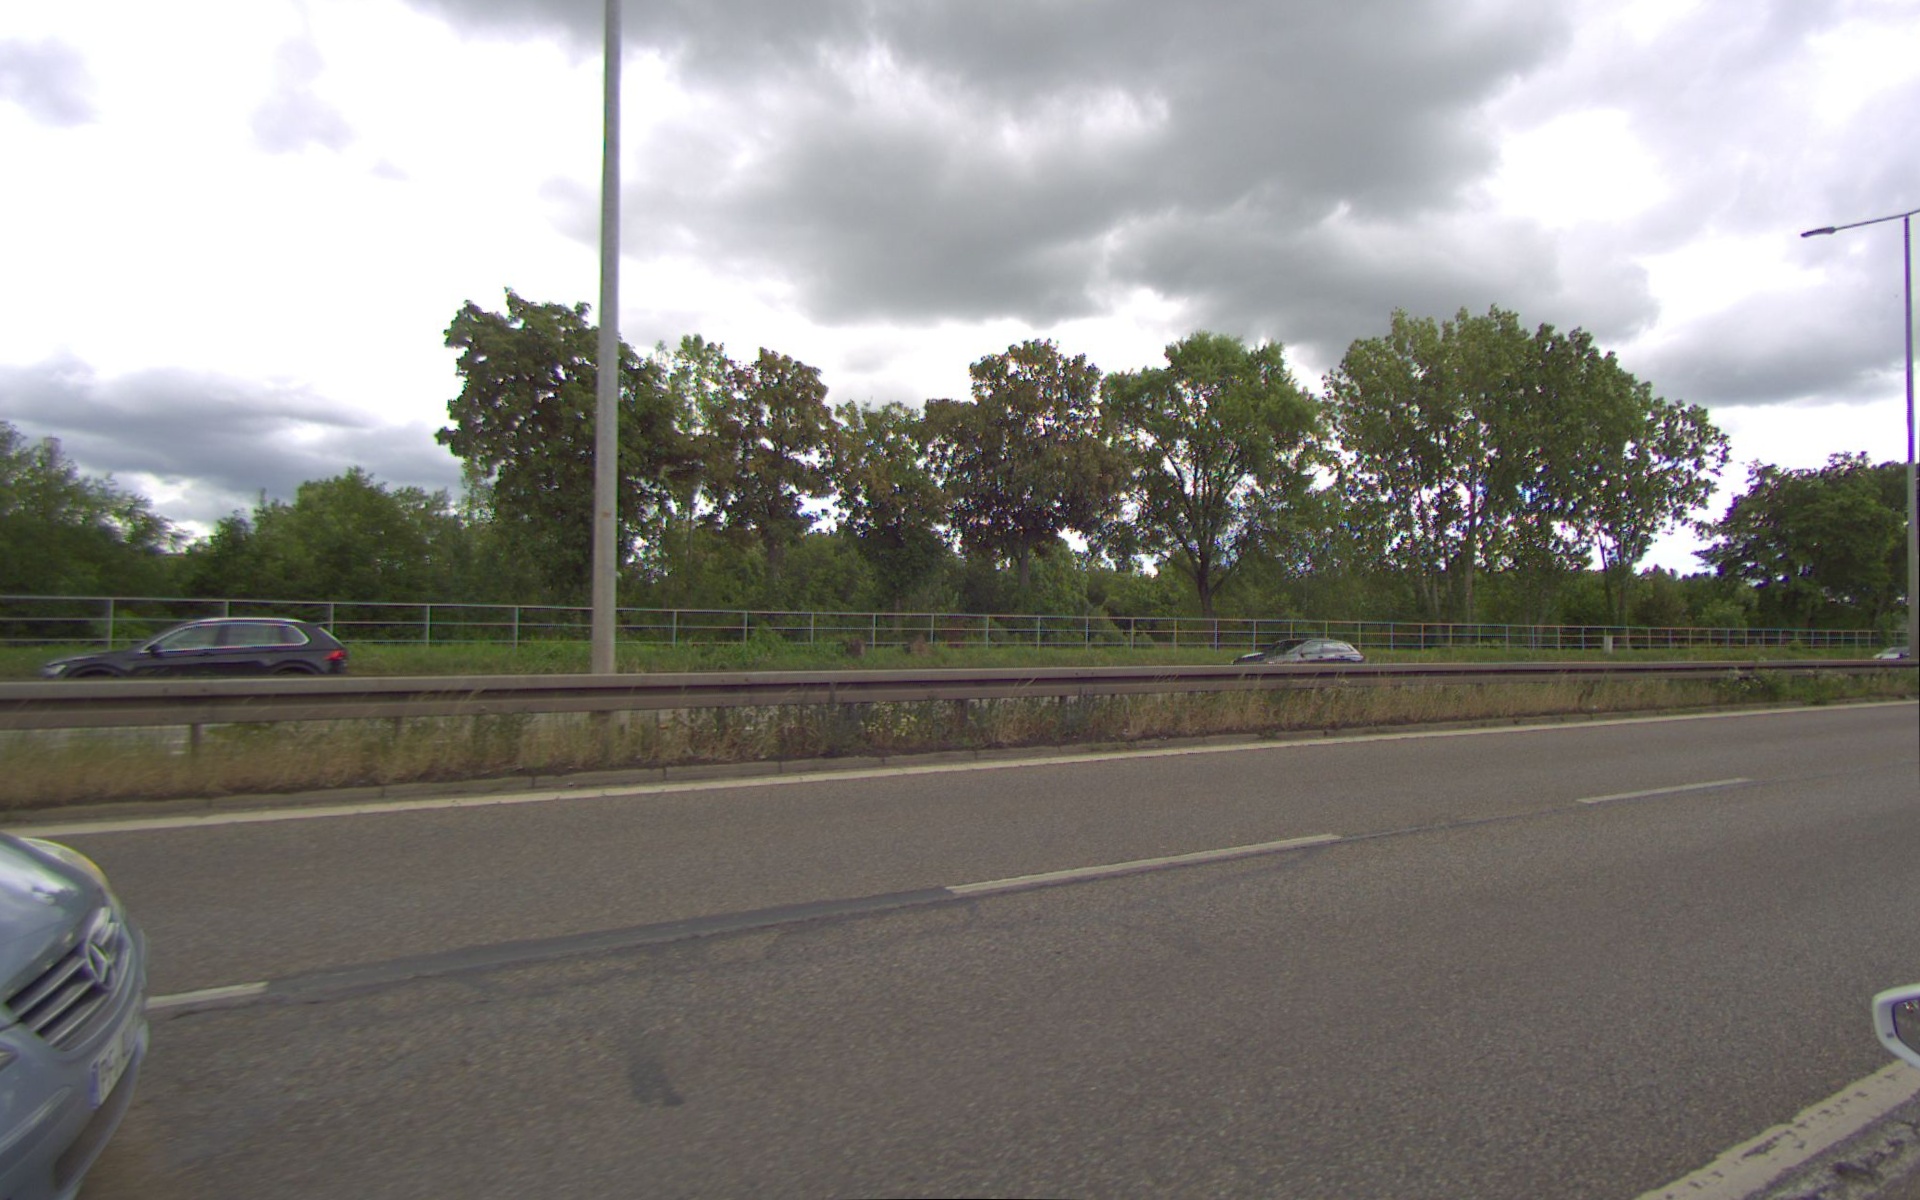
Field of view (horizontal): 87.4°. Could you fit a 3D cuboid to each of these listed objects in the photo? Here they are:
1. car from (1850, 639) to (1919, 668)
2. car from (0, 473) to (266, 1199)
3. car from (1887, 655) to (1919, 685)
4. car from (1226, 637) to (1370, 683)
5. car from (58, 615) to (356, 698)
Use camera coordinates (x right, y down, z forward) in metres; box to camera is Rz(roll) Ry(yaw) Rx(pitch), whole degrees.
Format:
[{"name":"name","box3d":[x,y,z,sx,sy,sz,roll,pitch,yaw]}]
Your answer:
[{"name":"car","box3d":[51.265,2.954,55.572,4.153,1.509,1.870,1,-1,-30]},{"name":"car","box3d":[-3.575,0.545,1.429,4.099,1.559,1.869,1,-1,-31]},{"name":"car","box3d":[45.971,3.291,47.718,4.733,1.316,1.651,1,-1,-31]},{"name":"car","box3d":[10.609,1.848,31.425,4.733,1.316,1.651,1,-1,-31]},{"name":"car","box3d":[-13.048,0.959,17.738,4.014,1.316,1.571,1,-1,-30]}]
